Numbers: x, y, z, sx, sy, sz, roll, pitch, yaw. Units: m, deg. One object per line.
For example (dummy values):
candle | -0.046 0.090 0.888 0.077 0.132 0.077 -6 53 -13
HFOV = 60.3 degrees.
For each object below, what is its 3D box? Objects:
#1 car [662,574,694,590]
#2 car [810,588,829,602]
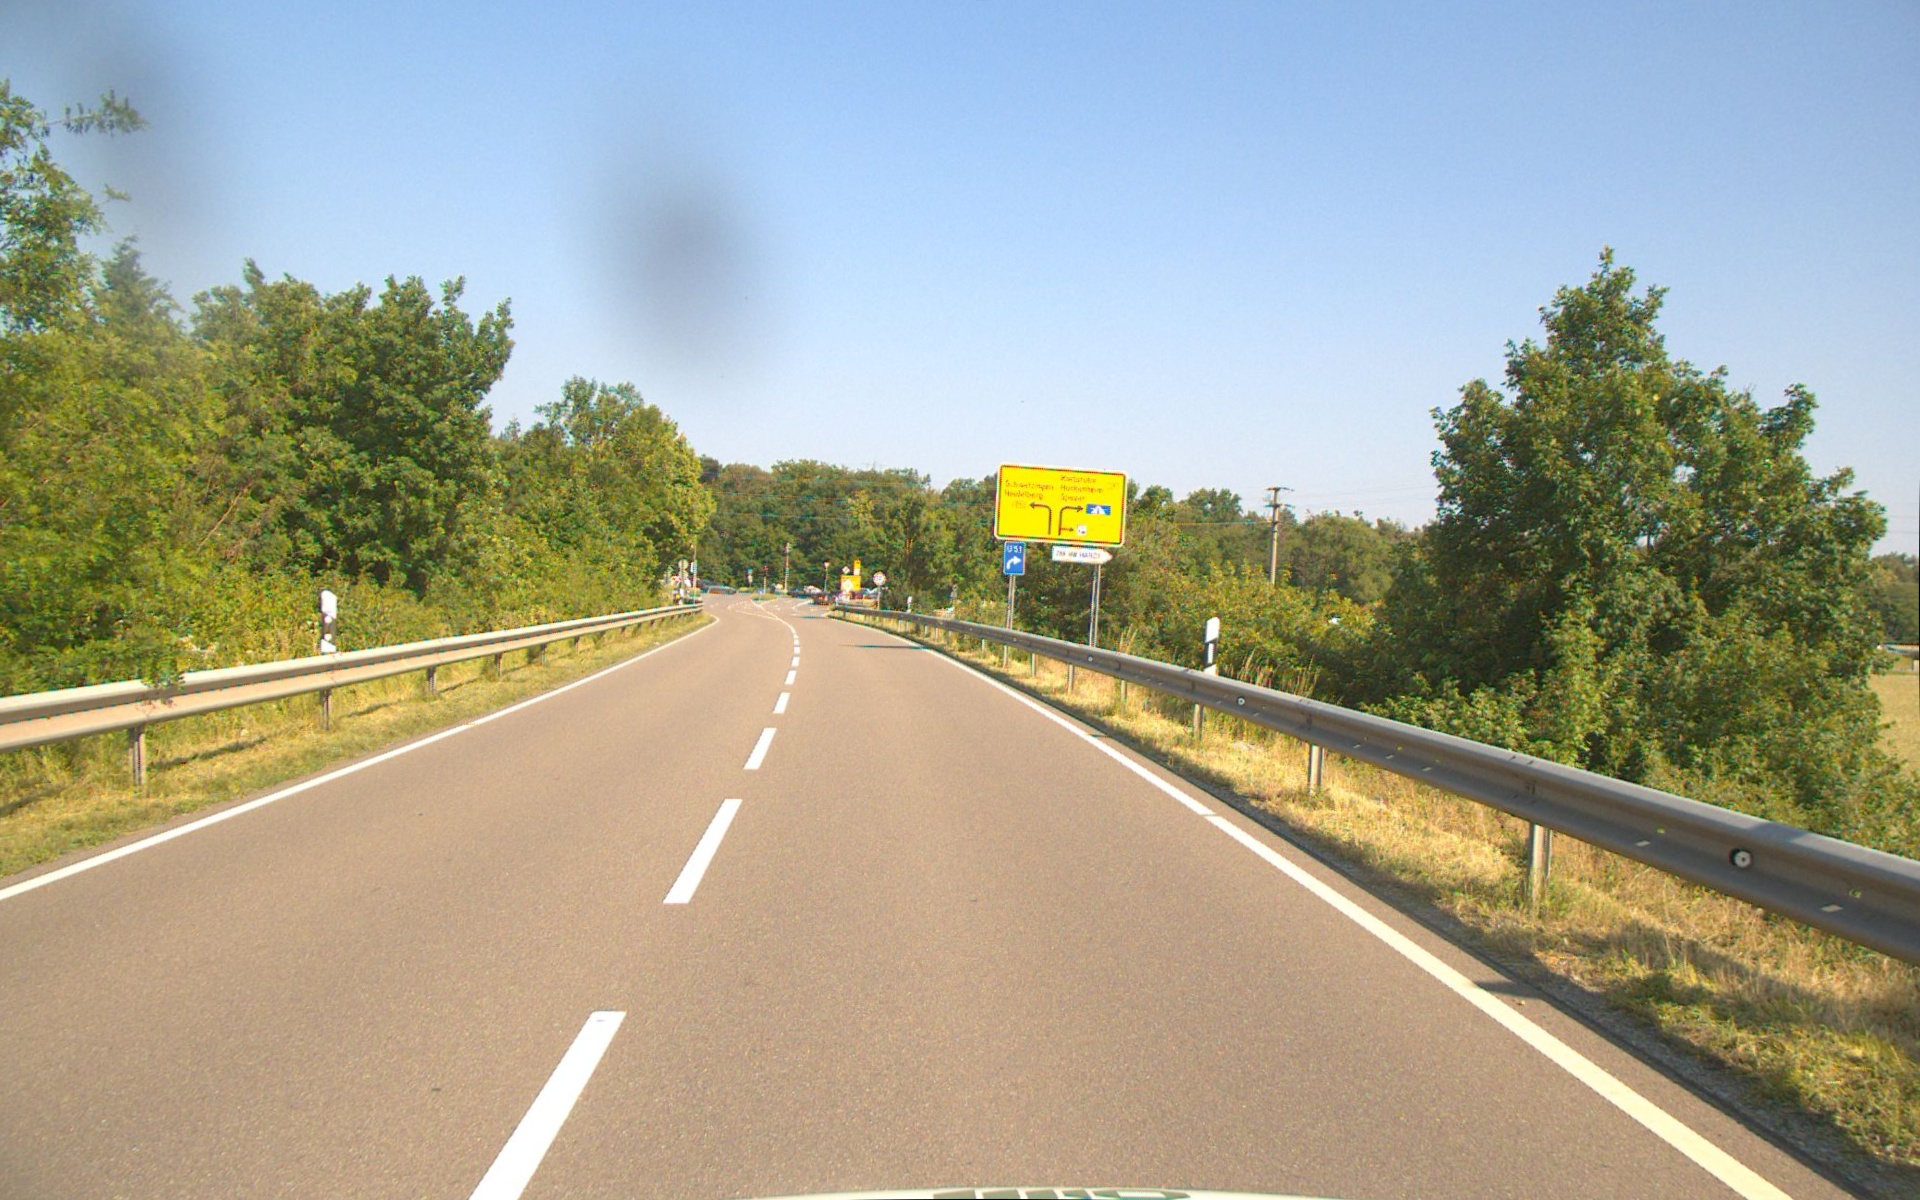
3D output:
car | -39.268 -2.518 230.391 3.942 2.049 1.779 1 0 -29
car | -15.998 -0.551 188.467 1.763 1.422 3.999 -4 0 -2
